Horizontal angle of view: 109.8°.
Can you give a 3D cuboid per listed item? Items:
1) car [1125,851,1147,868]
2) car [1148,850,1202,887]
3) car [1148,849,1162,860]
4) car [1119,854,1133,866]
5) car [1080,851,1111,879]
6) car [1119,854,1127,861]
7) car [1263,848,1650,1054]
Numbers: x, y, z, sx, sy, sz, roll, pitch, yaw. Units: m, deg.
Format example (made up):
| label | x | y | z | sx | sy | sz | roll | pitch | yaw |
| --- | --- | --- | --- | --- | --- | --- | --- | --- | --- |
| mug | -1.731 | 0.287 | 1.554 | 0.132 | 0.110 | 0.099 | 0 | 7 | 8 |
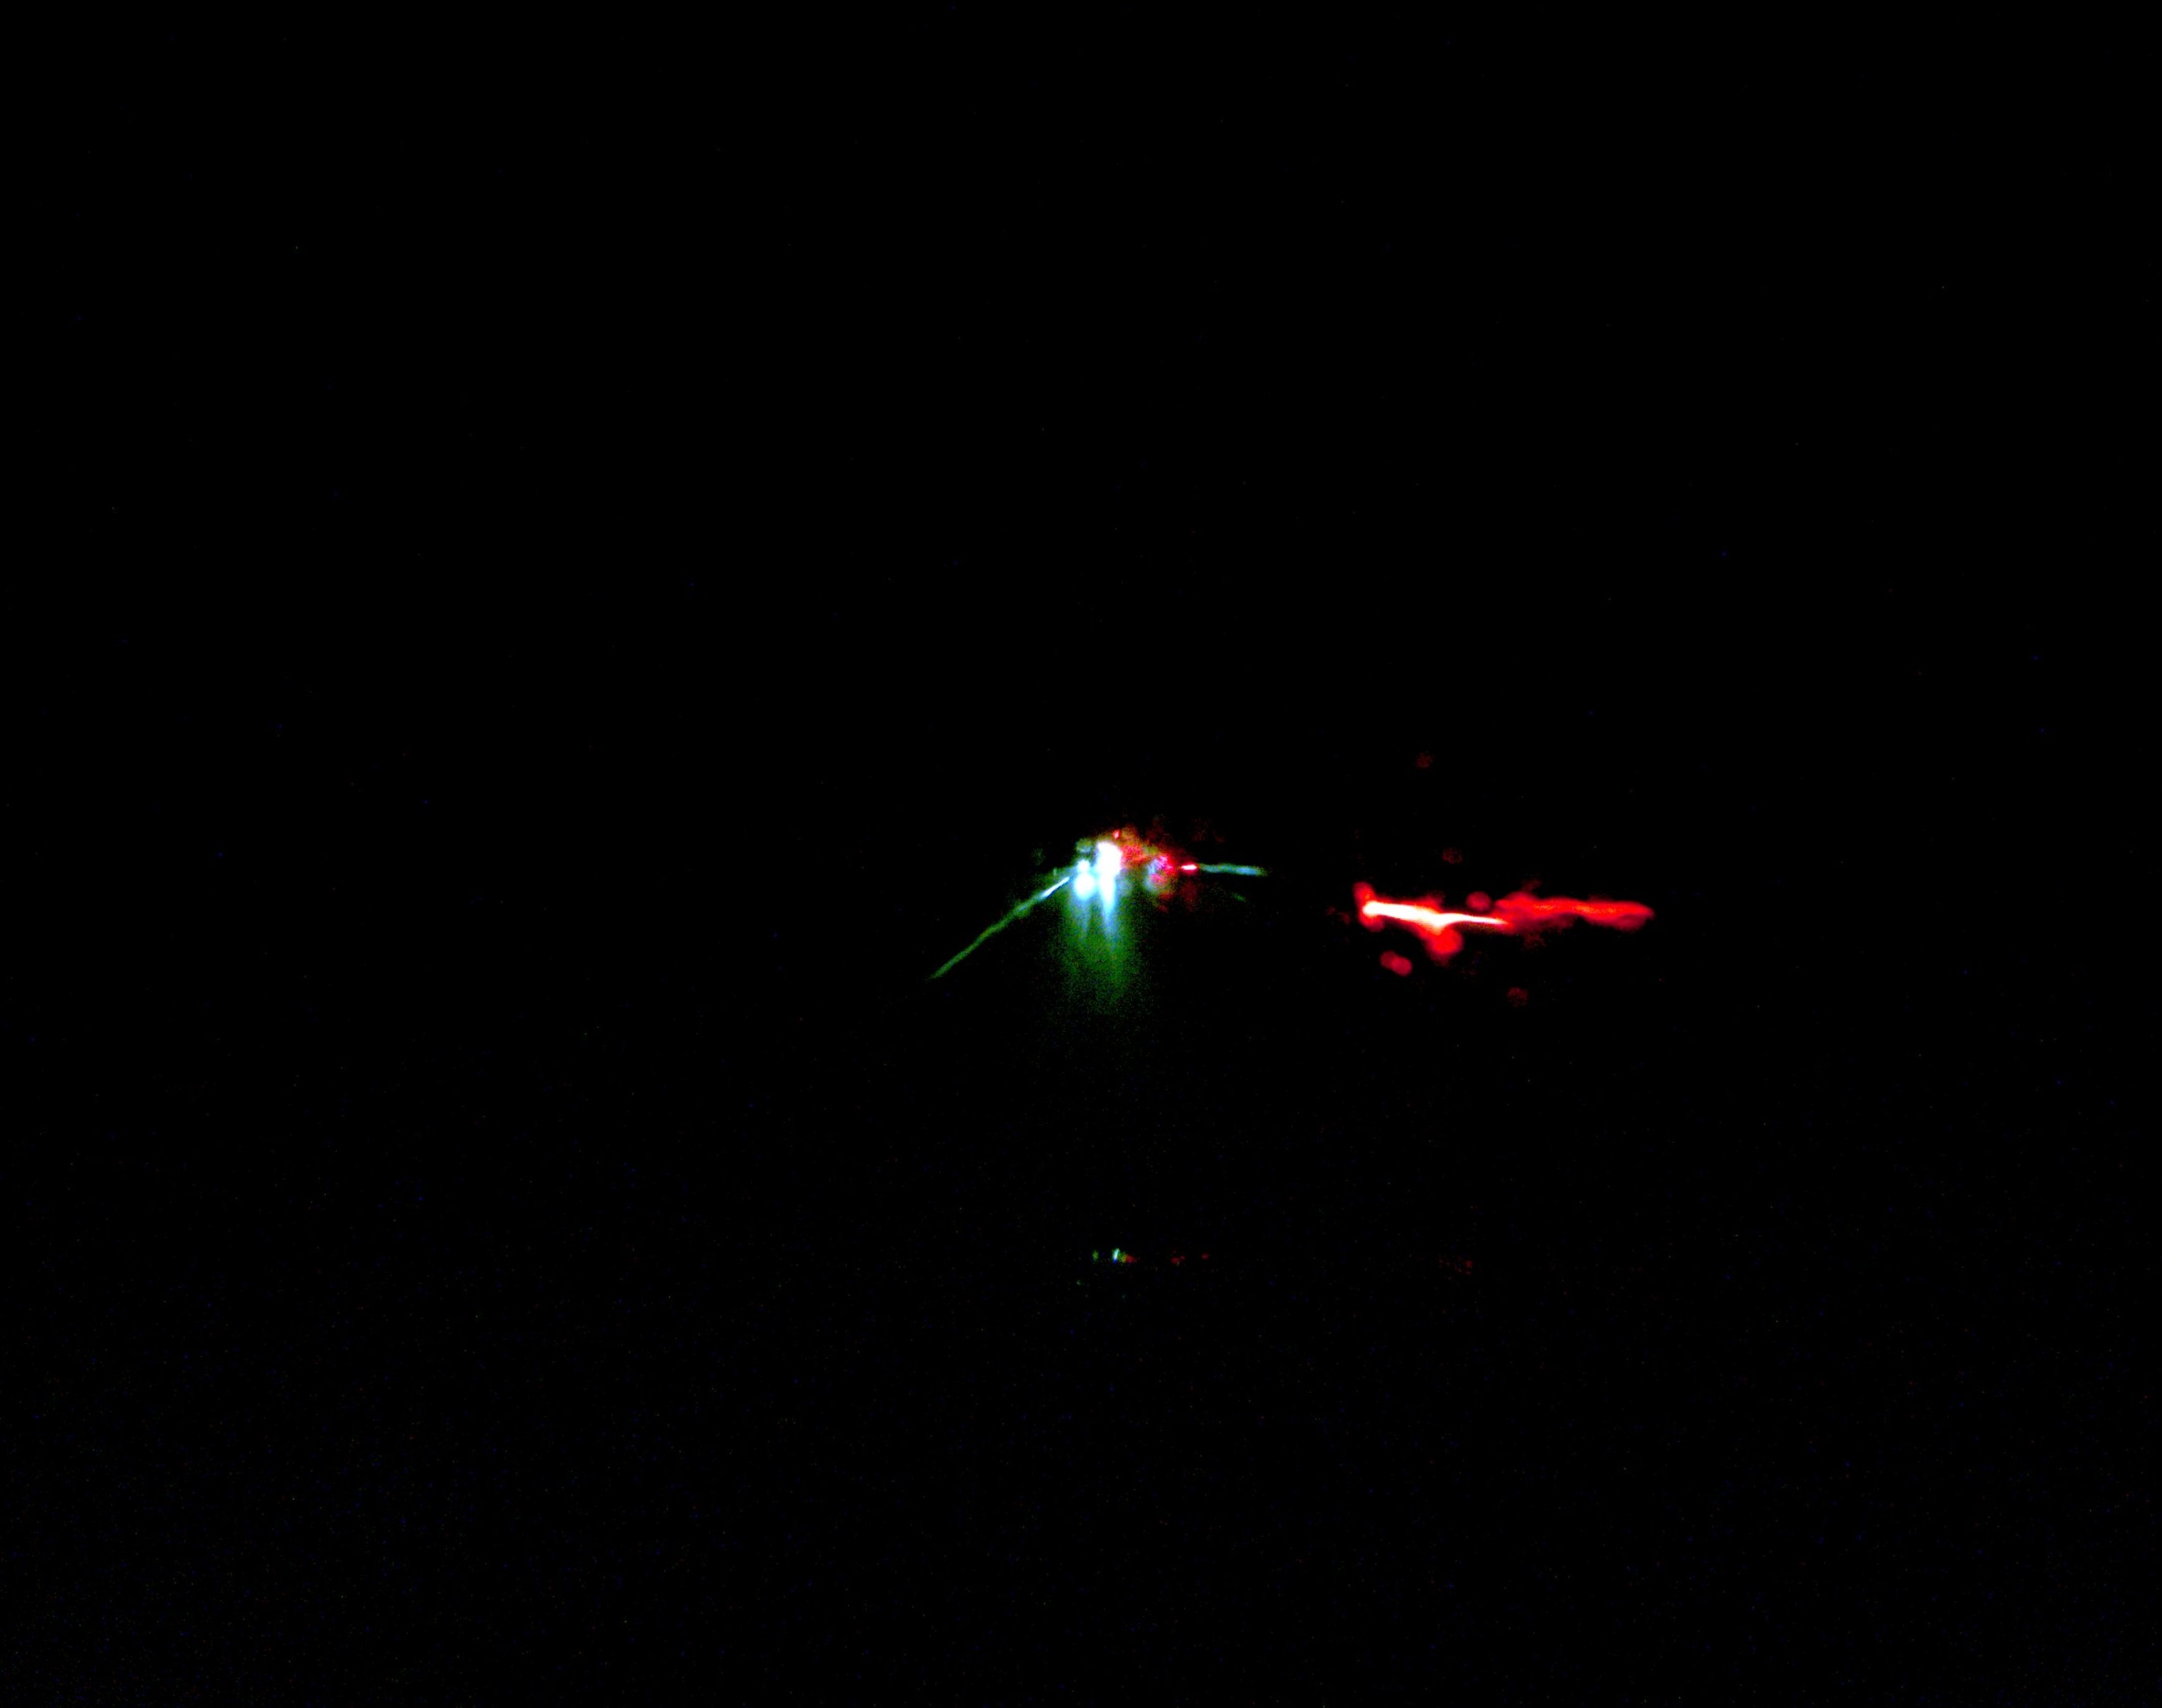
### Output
| label | x | y | z | sx | sy | sz | roll | pitch | yaw |
| --- | --- | --- | --- | --- | --- | --- | --- | --- | --- |
| car | 5.395 | 0.561 | 75.135 | 1.998 | 1.488 | 4.357 | -4 | 0 | 3 |
| car | 4.181 | 0.628 | 34.358 | 1.980 | 1.453 | 4.282 | -3 | 0 | 2 |
| car | 11.191 | 0.041 | 115.189 | 1.834 | 1.545 | 4.442 | -4 | 0 | 2 |
| car | 6.277 | 0.774 | 106.554 | 1.720 | 1.545 | 4.001 | -3 | 0 | 3 |
| car | 1.097 | 0.747 | 55.359 | 1.998 | 1.804 | 4.001 | -5 | 0 | 3 |
| car | 9.566 | 0.795 | 172.429 | 1.789 | 1.623 | 4.426 | -3 | 0 | 2 |
| car | 3.506 | 0.761 | 8.293 | 1.860 | 1.512 | 4.680 | -3 | 0 | 0 |
